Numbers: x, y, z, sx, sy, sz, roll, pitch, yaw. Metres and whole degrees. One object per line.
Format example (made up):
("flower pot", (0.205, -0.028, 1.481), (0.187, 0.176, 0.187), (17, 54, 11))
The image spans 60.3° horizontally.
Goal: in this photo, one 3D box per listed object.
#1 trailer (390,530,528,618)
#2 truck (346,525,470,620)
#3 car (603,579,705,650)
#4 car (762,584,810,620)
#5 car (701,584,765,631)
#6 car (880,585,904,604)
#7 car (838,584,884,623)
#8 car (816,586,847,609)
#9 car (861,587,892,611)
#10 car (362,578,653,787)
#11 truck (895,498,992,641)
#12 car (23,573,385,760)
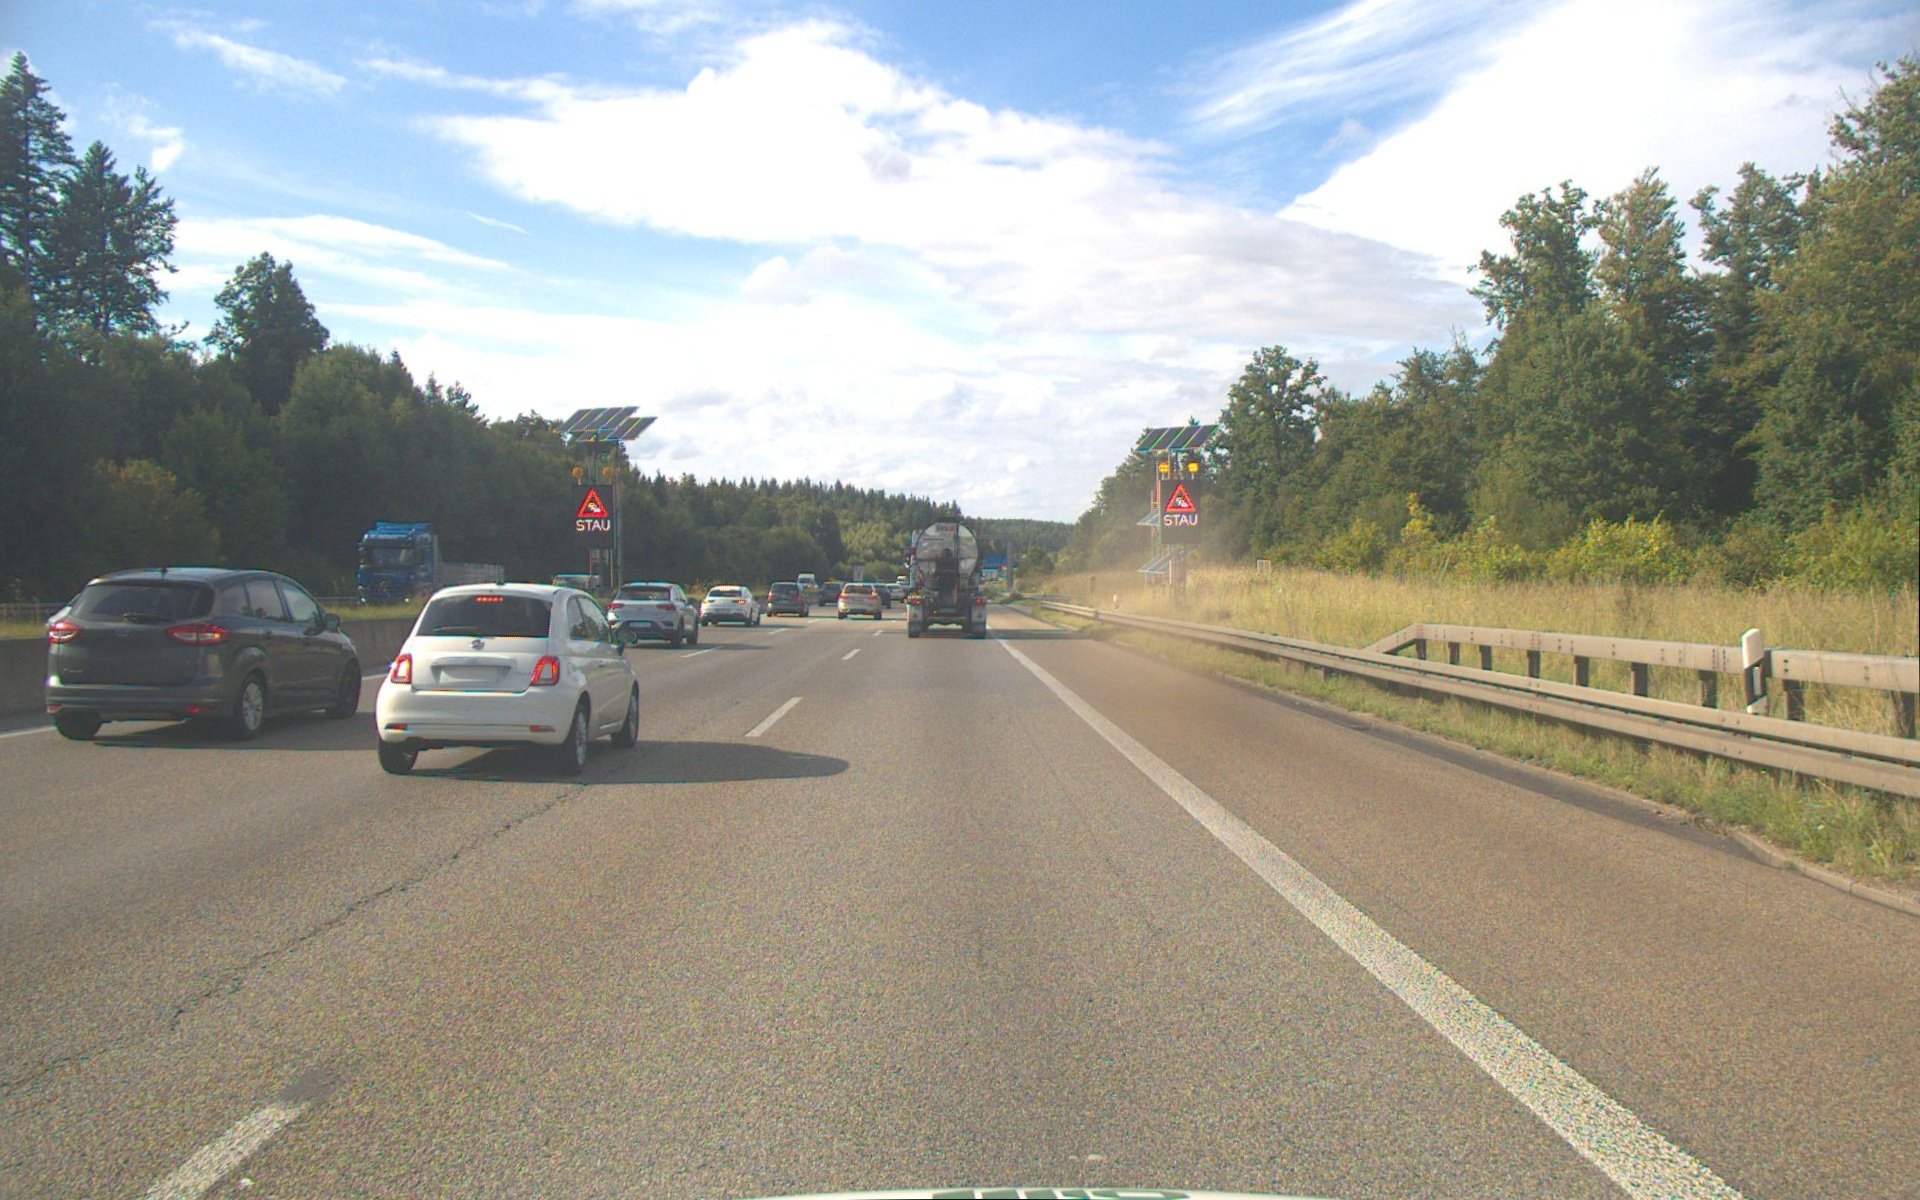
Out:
("trailer", (-23.962, -1.215, 79.921), (3.060, 3.904, 12.207), (0, 0, -1))
("truck", (-23.831, -1.174, 71.802), (3.051, 3.904, 7.122), (0, 0, -1))
("car", (-7.484, 0.314, 40.774), (1.770, 1.613, 4.206), (1, 1, -1))
("car", (-8.346, 0.070, 79.675), (1.903, 1.613, 4.206), (1, 1, -1))
("car", (-8.240, 0.242, 60.276), (1.770, 1.613, 4.206), (1, 1, -1))
("car", (-5.761, -0.494, 140.119), (1.903, 1.482, 4.206), (1, 1, -1))
("car", (-4.503, 0.147, 75.931), (1.903, 1.683, 4.206), (1, 1, -1))
("car", (-9.093, -0.190, 117.229), (1.903, 1.482, 4.206), (1, 1, -1))
("car", (-5.537, -0.095, 110.144), (1.903, 1.482, 4.206), (1, 1, -1))
("car", (-3.776, 0.628, 14.377), (1.585, 1.571, 3.519), (1, 0, -1))
("truck", (-0.513, -0.955, 54.899), (2.853, 4.230, 11.269), (0, 0, 0))
("car", (-7.435, 0.558, 16.774), (1.770, 1.613, 4.206), (1, 1, -1))
